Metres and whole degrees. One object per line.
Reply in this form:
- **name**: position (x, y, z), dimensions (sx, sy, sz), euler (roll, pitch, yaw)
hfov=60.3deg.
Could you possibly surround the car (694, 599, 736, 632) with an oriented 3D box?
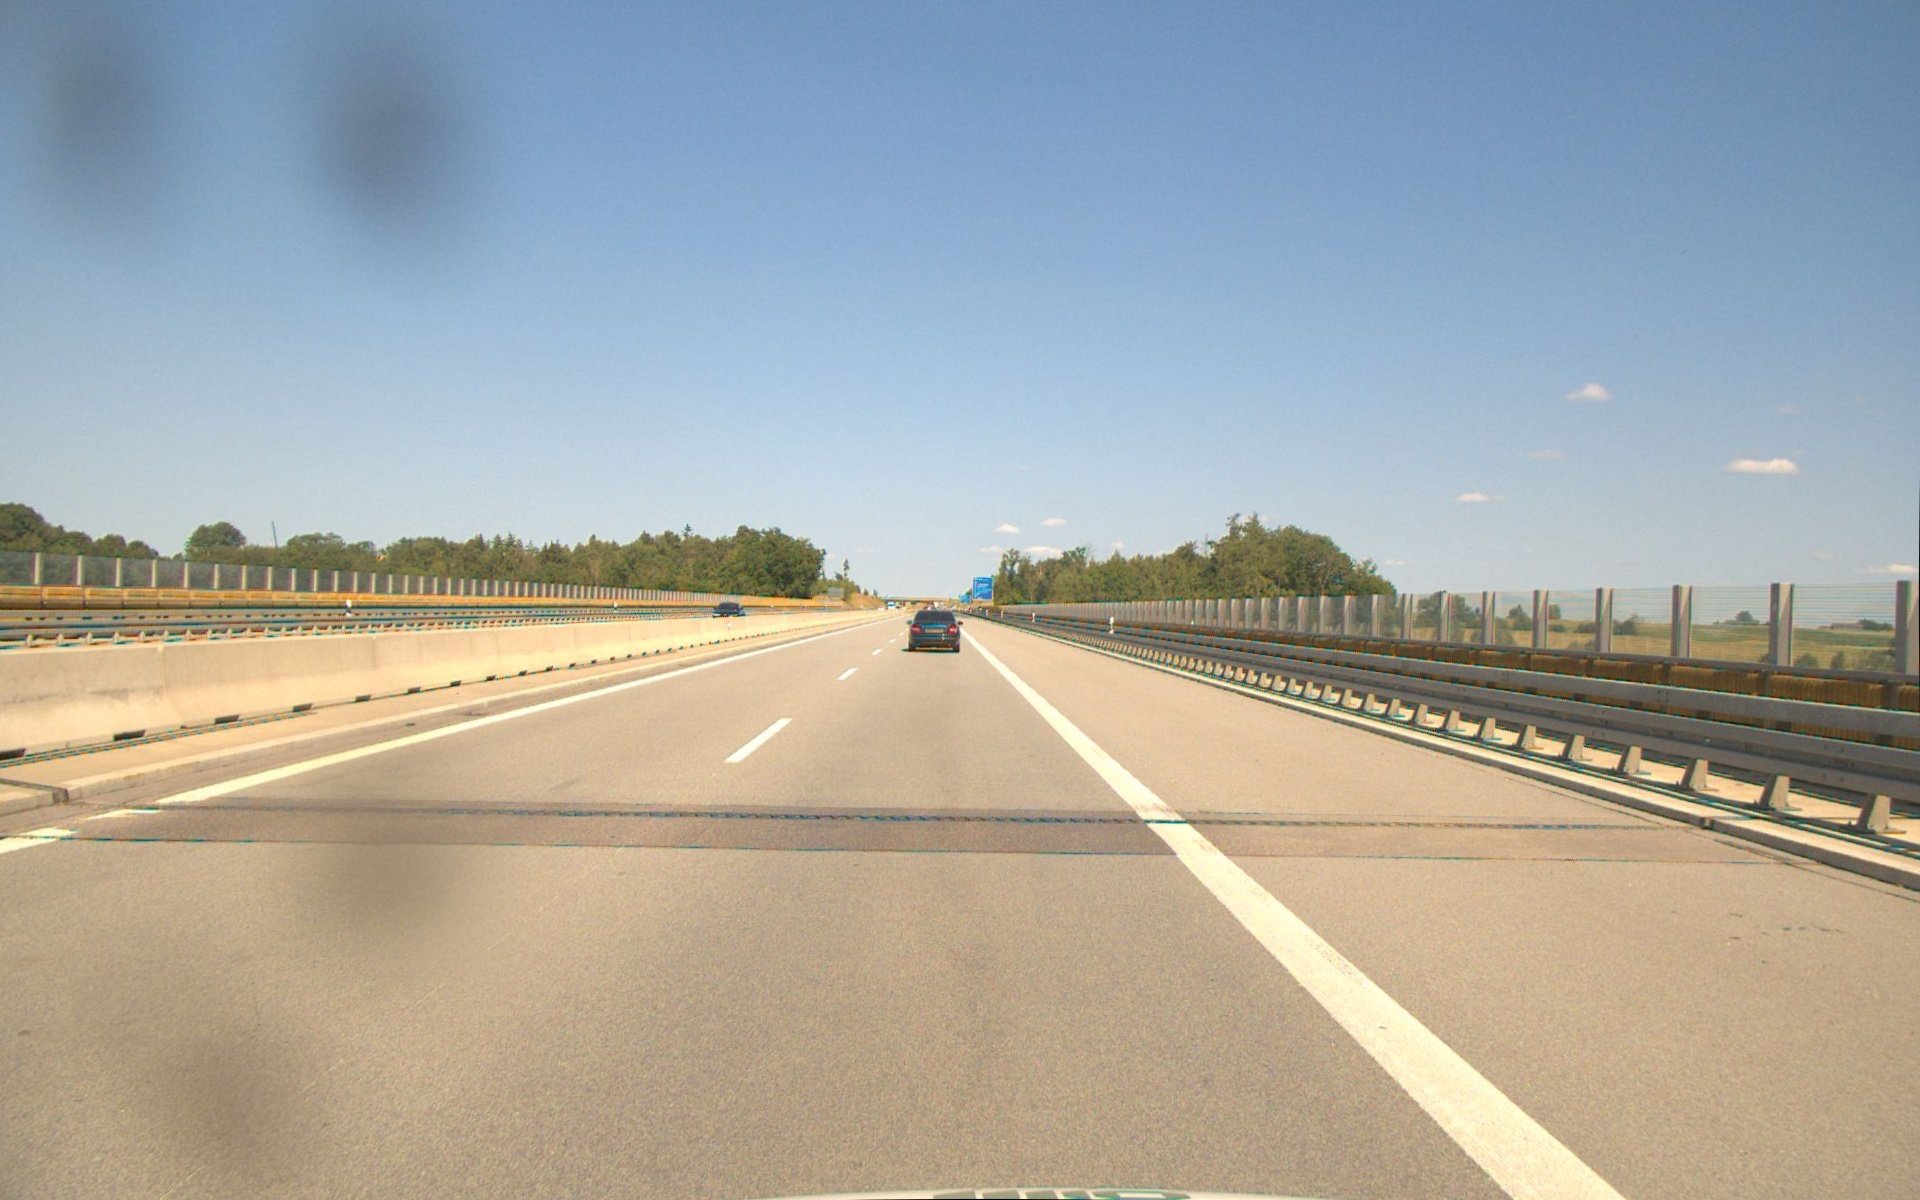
- **car**: position (-15.803, 1.007, 106.840), dimensions (1.952, 2.049, 4.761), euler (1, 0, 0)

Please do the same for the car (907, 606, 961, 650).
- **car**: position (-0.867, 0.909, 56.135), dimensions (1.753, 1.398, 3.916), euler (1, 0, 0)
